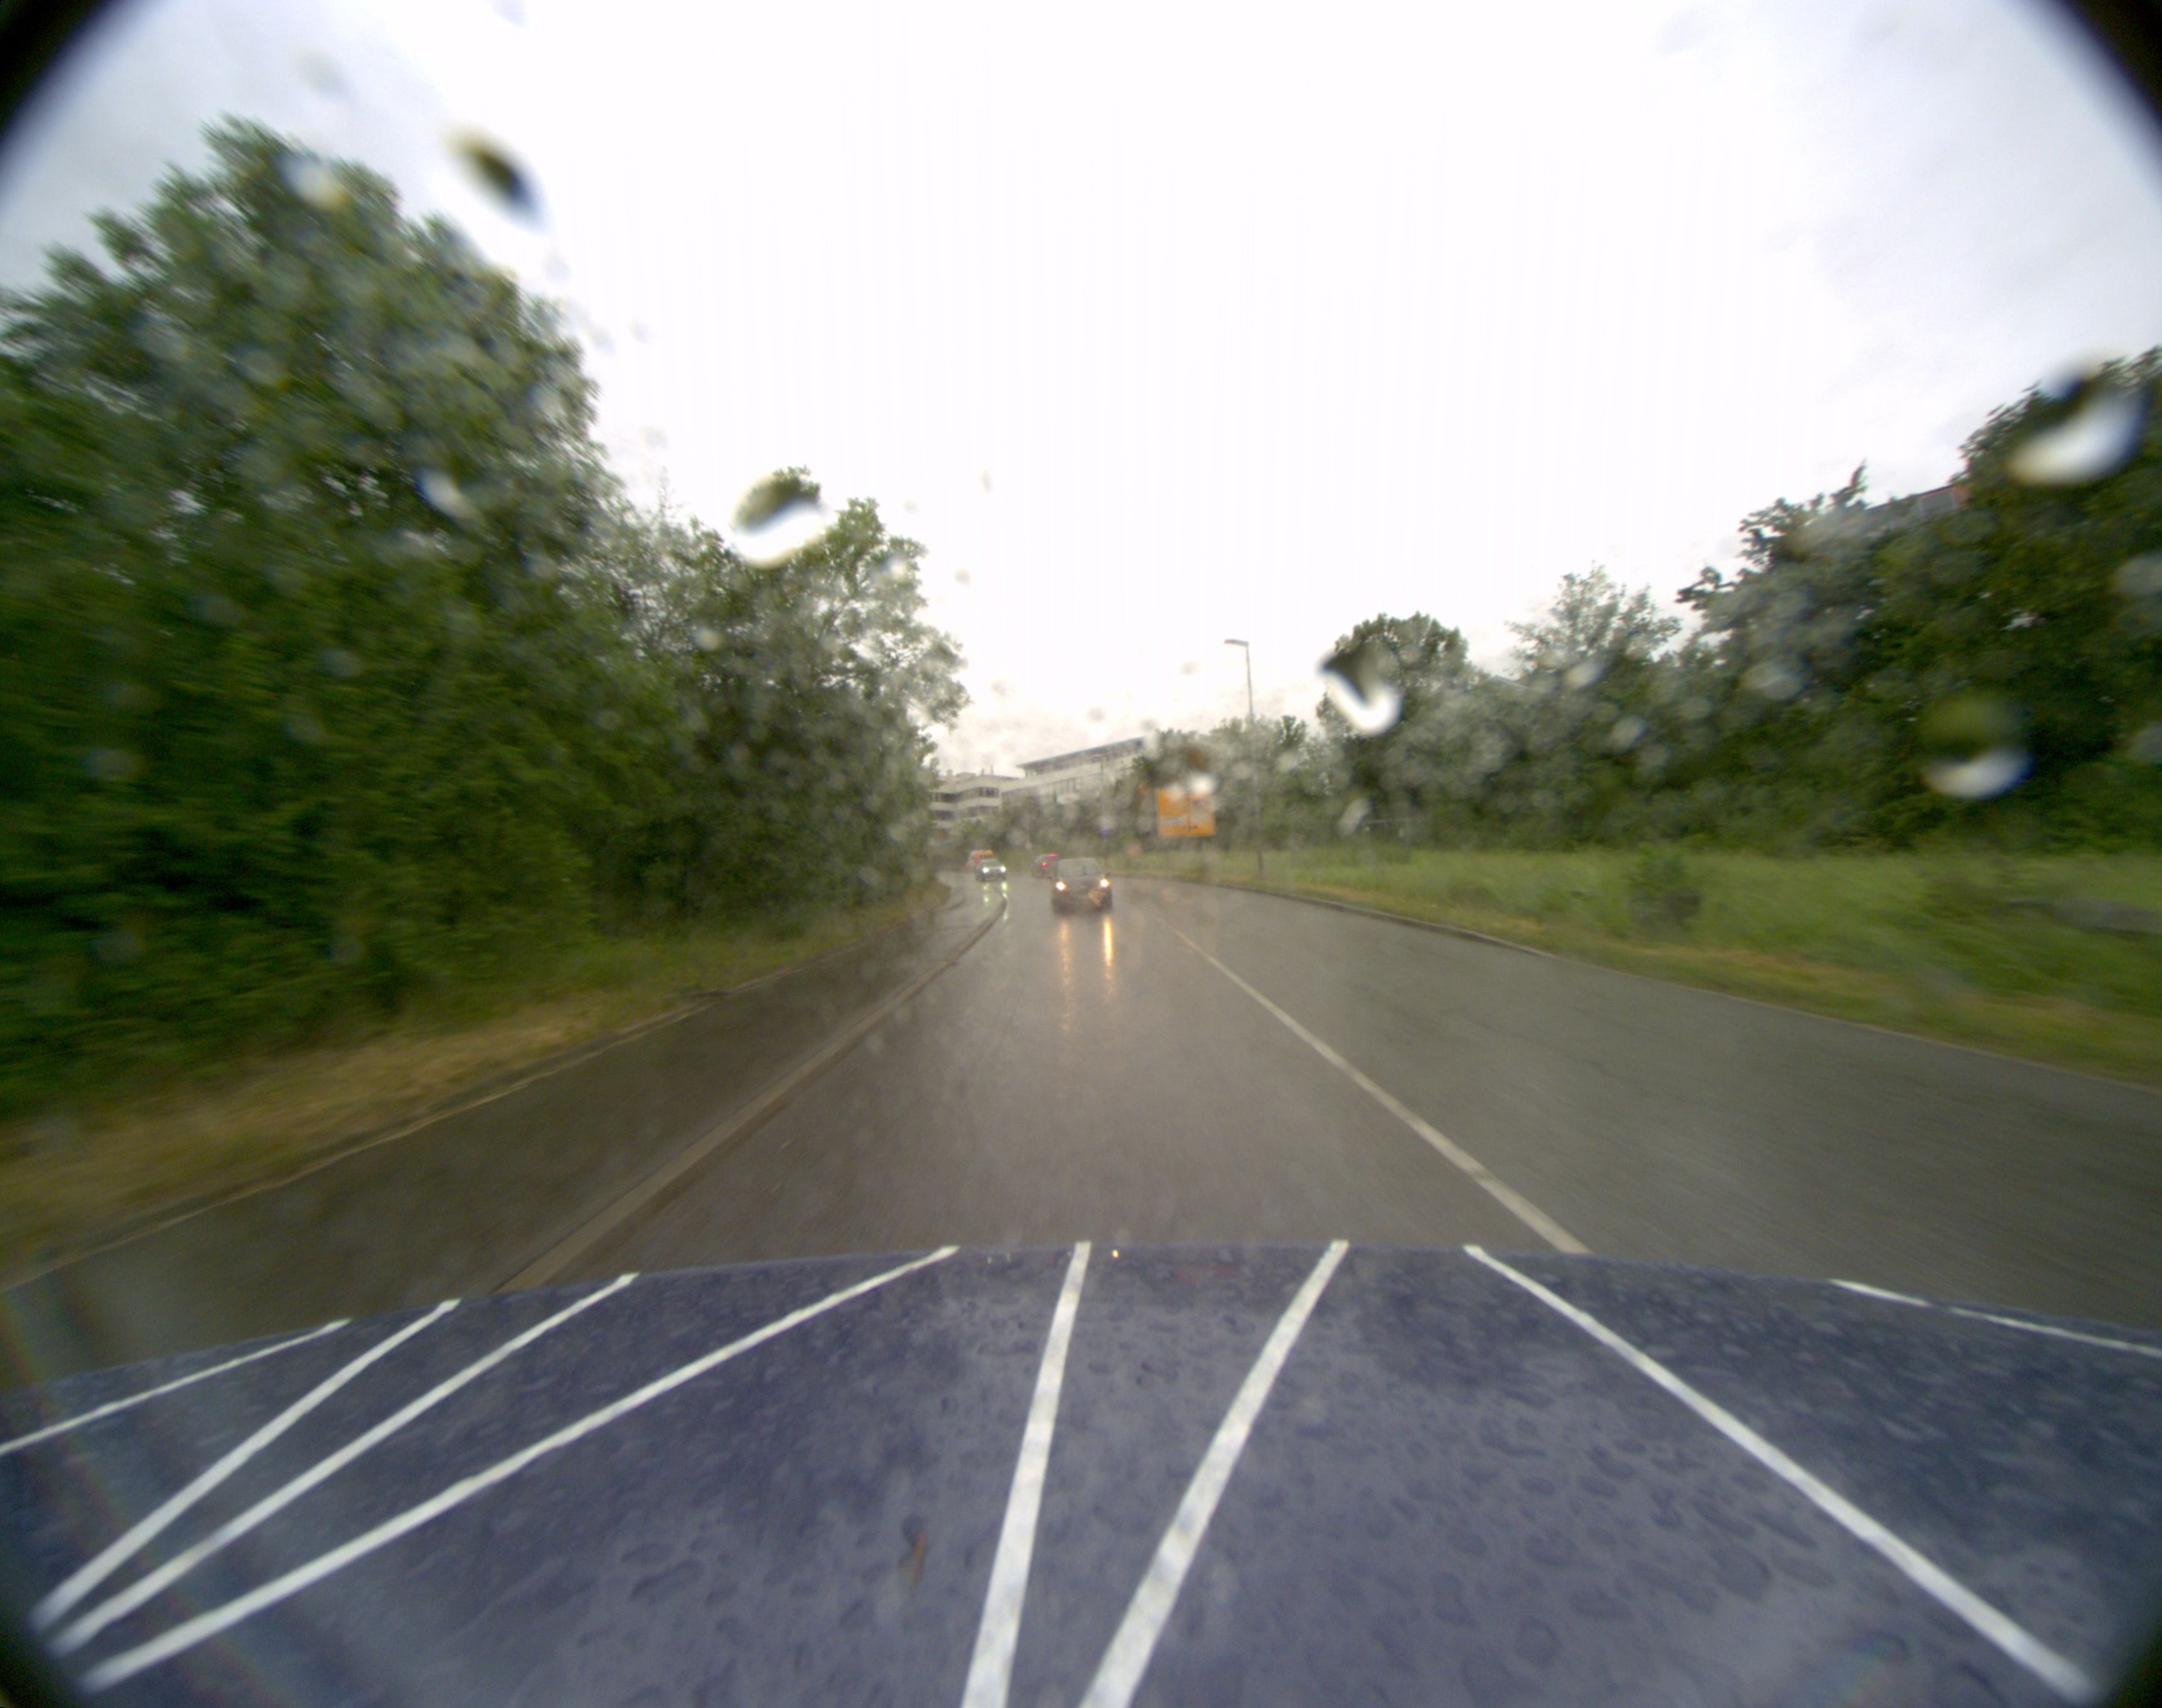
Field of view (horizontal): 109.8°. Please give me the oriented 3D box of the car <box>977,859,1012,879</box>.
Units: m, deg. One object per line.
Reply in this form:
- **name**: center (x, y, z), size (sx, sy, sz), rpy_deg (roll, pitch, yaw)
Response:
- **car**: center (-6.426, 1.117, 55.767), size (1.876, 1.432, 4.372), rpy_deg (0, -1, -16)

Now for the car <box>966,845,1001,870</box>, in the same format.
- **car**: center (-10.567, 0.437, 81.900), size (2.053, 2.404, 5.445), rpy_deg (-4, 1, -25)

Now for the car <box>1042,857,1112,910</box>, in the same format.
- **car**: center (-0.239, 0.890, 24.585), size (1.874, 1.433, 4.375), rpy_deg (-3, 0, -5)

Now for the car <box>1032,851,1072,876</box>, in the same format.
- **car**: center (-2.141, 0.696, 55.012), size (1.871, 1.543, 4.261), rpy_deg (-5, 1, -15)
